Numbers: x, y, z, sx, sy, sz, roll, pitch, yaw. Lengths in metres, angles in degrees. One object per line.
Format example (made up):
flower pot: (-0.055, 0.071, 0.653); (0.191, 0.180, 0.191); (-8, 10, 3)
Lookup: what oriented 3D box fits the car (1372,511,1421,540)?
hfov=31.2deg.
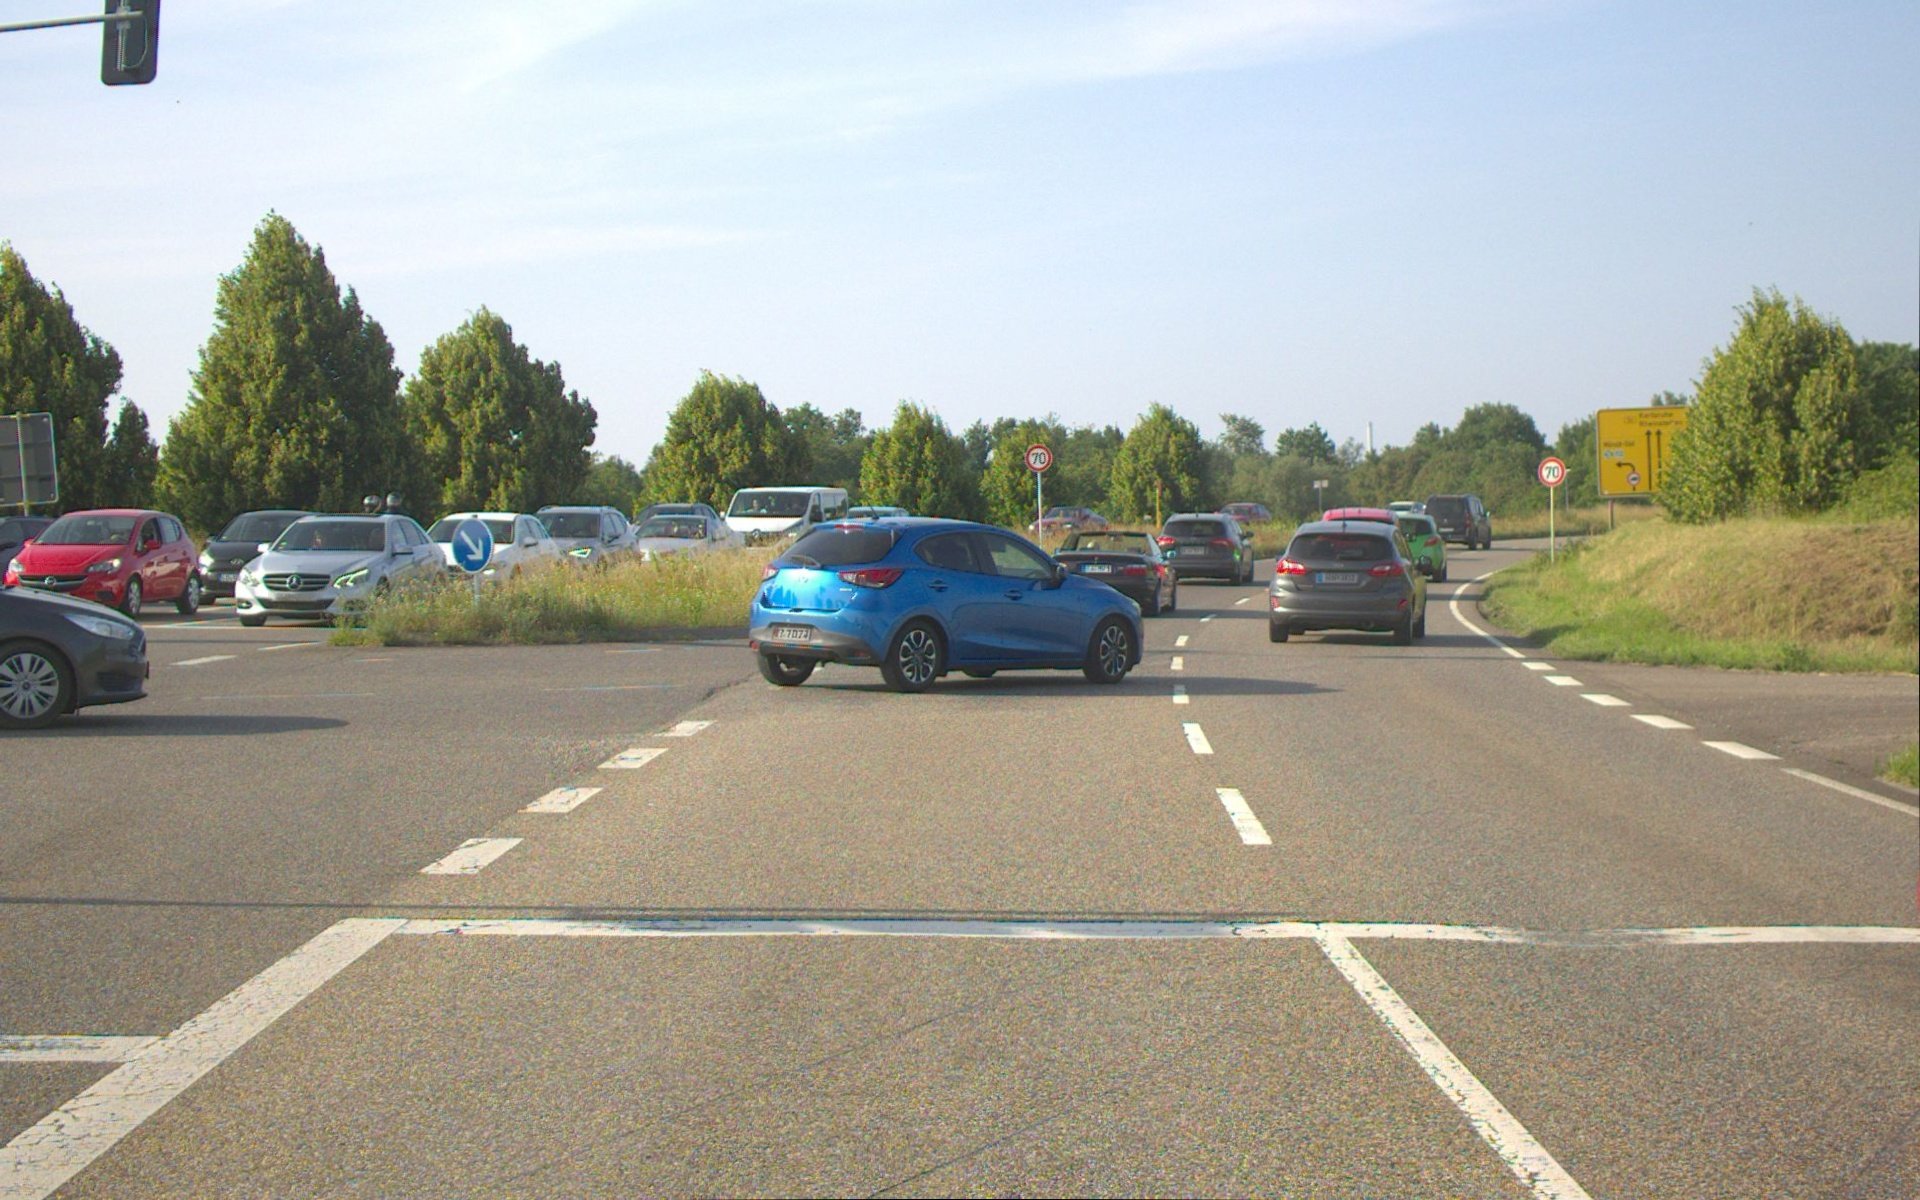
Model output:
car: (20.920, -3.577, 164.598); (1.787, 1.381, 4.049); (0, 1, 15)

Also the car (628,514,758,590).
car: (-5.027, -0.933, 65.183); (1.786, 1.381, 4.051); (-1, 1, 5)

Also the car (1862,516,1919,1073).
car: (3.566, 0.561, 8.175); (1.696, 1.544, 3.751); (-1, 1, -3)

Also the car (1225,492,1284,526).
car: (12.337, -3.824, 143.980); (1.787, 1.381, 4.049); (0, 1, 15)

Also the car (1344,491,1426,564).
car: (11.549, -1.959, 93.693); (1.909, 1.909, 4.277); (0, 0, 3)

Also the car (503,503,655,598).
car: (-6.495, -0.865, 59.000); (1.786, 1.563, 4.051); (-1, 1, 5)

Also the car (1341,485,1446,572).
car: (9.364, -1.532, 74.562); (1.909, 1.794, 4.278); (0, 0, 2)

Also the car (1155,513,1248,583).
car: (4.959, -1.038, 70.661); (1.836, 1.372, 4.277); (0, 0, 4)

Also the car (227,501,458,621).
car: (-8.030, -0.539, 45.126); (1.786, 1.483, 4.650); (-1, 1, 5)

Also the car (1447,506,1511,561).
car: (17.032, -2.166, 112.953); (1.909, 1.728, 4.277); (0, 0, 7)

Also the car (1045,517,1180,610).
car: (2.225, -0.522, 51.181); (1.909, 1.318, 4.278); (0, 0, 1)

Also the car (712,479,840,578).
car: (-3.948, -1.557, 74.565); (1.926, 2.071, 4.242); (0, 1, 9)

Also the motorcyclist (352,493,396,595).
motorcyclist: (-10.048, -0.963, 58.959); (0.662, 1.741, 0.605); (-1, 1, -2)

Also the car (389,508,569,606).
car: (-7.333, -0.688, 52.843); (1.786, 1.428, 4.308); (-1, 1, 5)

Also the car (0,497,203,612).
car: (-11.783, -0.637, 46.866); (1.721, 1.483, 3.804); (-1, 1, 6)

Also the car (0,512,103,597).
car: (-14.963, -0.700, 52.737); (1.437, 1.288, 4.670); (0, 1, 15)

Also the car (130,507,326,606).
car: (-11.118, -0.689, 52.467); (1.786, 1.428, 4.051); (-1, 1, 5)

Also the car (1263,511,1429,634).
car: (4.658, -0.320, 41.740); (1.915, 1.411, 3.795); (0, 0, 6)

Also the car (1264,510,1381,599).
car: (6.595, -0.811, 62.879); (1.895, 1.559, 4.277); (0, 0, 3)

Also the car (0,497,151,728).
car: (-7.948, 0.071, 23.616); (4.515, 1.560, 1.816); (0, 1, -18)

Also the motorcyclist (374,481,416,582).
motorcyclist: (-10.179, -1.236, 61.940); (0.662, 1.810, 0.605); (-1, 1, -2)

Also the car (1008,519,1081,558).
car: (3.118, -2.268, 126.170); (1.787, 1.381, 4.049); (0, 1, 15)

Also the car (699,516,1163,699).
car: (-0.203, 0.013, 30.129); (1.777, 1.487, 3.975); (1, 2, 45)
